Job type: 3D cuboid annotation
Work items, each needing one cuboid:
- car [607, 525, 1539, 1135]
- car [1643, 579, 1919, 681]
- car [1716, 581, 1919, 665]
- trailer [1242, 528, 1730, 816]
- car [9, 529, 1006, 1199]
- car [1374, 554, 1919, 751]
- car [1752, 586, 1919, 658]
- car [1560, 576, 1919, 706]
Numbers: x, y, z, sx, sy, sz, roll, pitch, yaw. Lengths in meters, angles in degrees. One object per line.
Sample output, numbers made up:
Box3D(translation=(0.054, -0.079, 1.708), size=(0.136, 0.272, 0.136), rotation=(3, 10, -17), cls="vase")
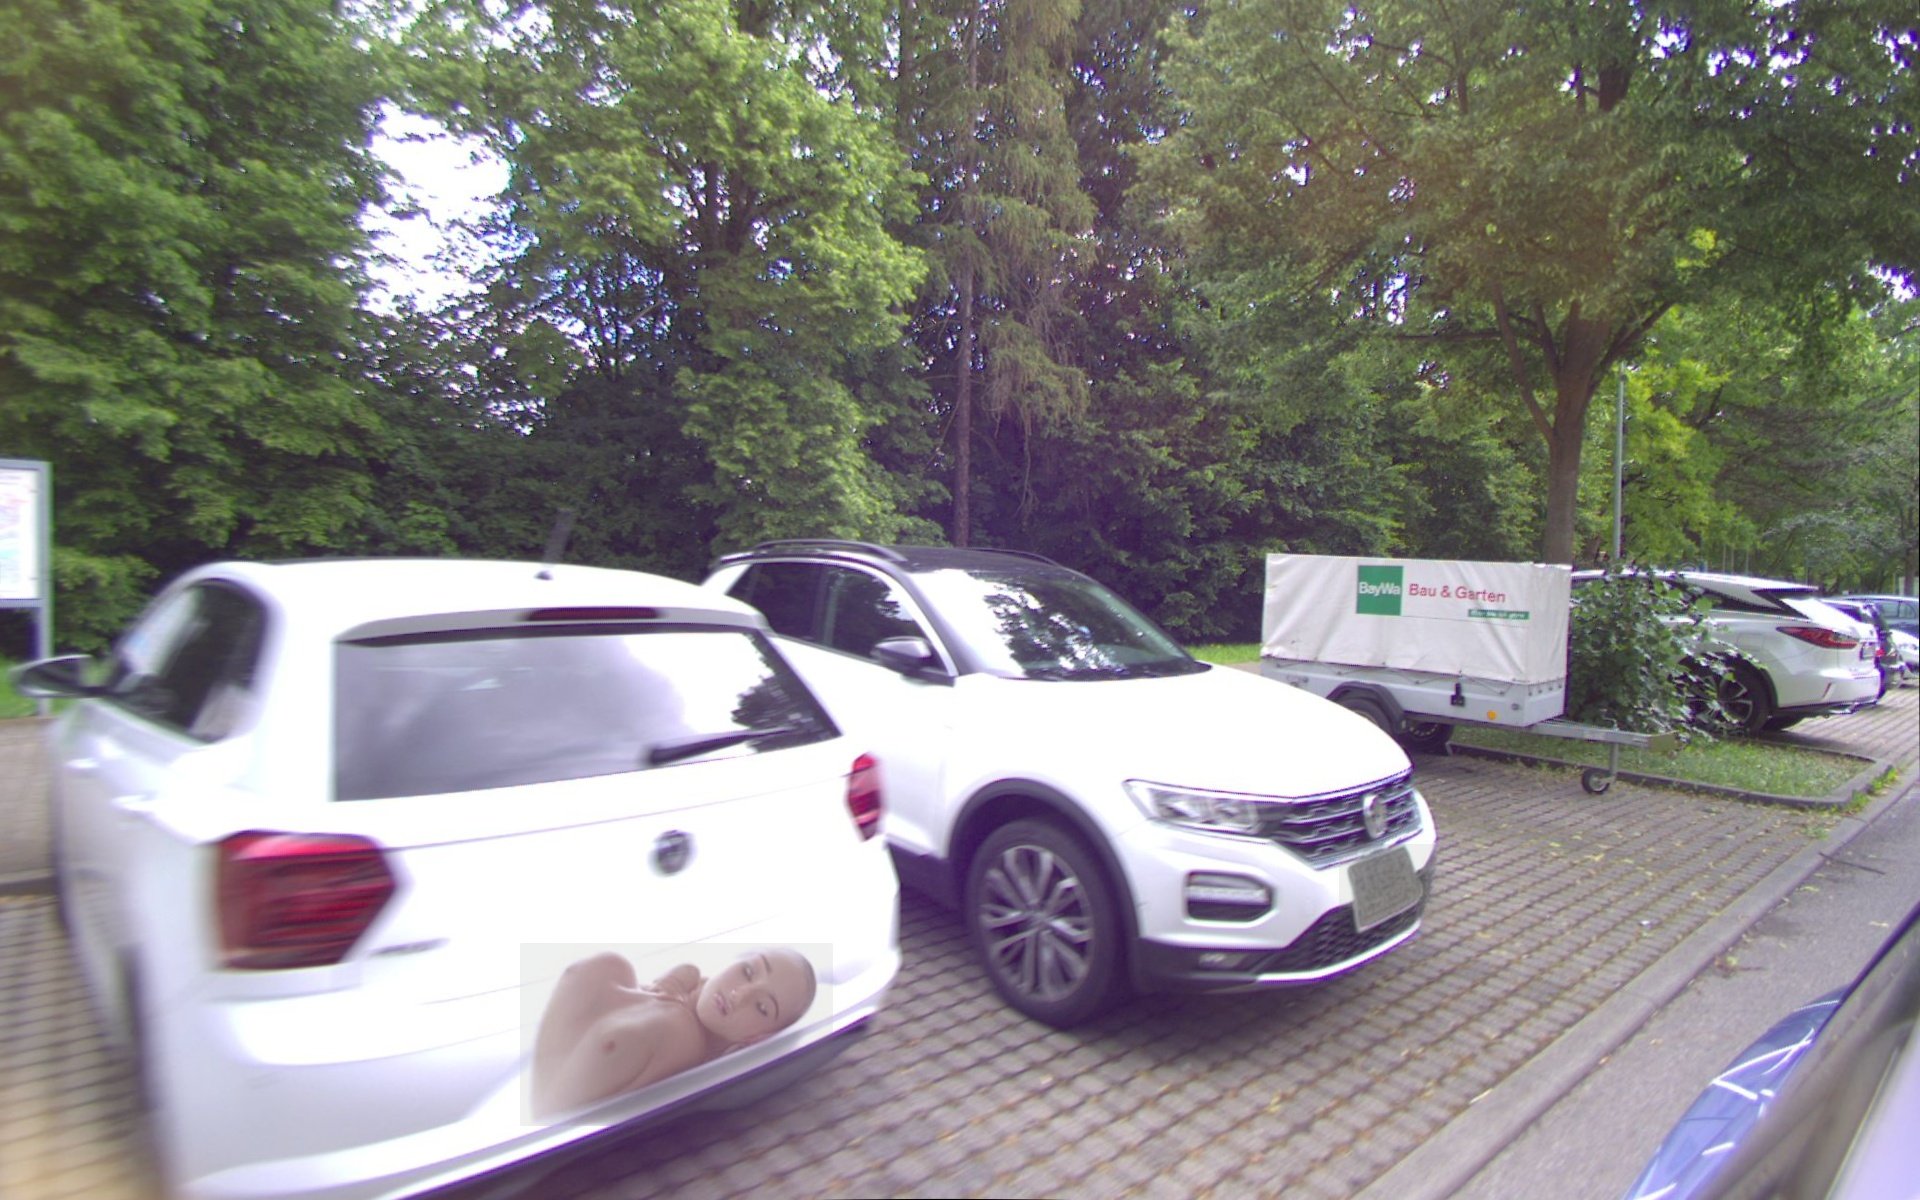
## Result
Box3D(translation=(0.106, 0.477, 4.726), size=(1.829, 1.567, 4.119), rotation=(0, 3, -43), cls="car")
Box3D(translation=(15.105, 0.454, 18.402), size=(1.756, 1.590, 4.162), rotation=(0, 2, -44), cls="car")
Box3D(translation=(18.793, 0.444, 21.451), size=(1.755, 1.590, 4.142), rotation=(0, 2, -42), cls="car")
Box3D(translation=(4.009, 0.368, 8.001), size=(1.537, 1.812, 3.034), rotation=(0, 3, -43), cls="trailer")
Box3D(translation=(-1.928, 0.524, 3.428), size=(4.011, 1.439, 1.763), rotation=(4, 3, 45), cls="car")
Box3D(translation=(7.602, 0.395, 11.745), size=(1.937, 1.714, 4.834), rotation=(0, 3, -37), cls="car")
Box3D(translation=(20.822, 0.479, 23.090), size=(1.755, 1.482, 4.093), rotation=(0, 2, -42), cls="car")
Box3D(translation=(11.663, 0.487, 15.209), size=(1.817, 1.590, 4.169), rotation=(0, 2, -38), cls="car")
